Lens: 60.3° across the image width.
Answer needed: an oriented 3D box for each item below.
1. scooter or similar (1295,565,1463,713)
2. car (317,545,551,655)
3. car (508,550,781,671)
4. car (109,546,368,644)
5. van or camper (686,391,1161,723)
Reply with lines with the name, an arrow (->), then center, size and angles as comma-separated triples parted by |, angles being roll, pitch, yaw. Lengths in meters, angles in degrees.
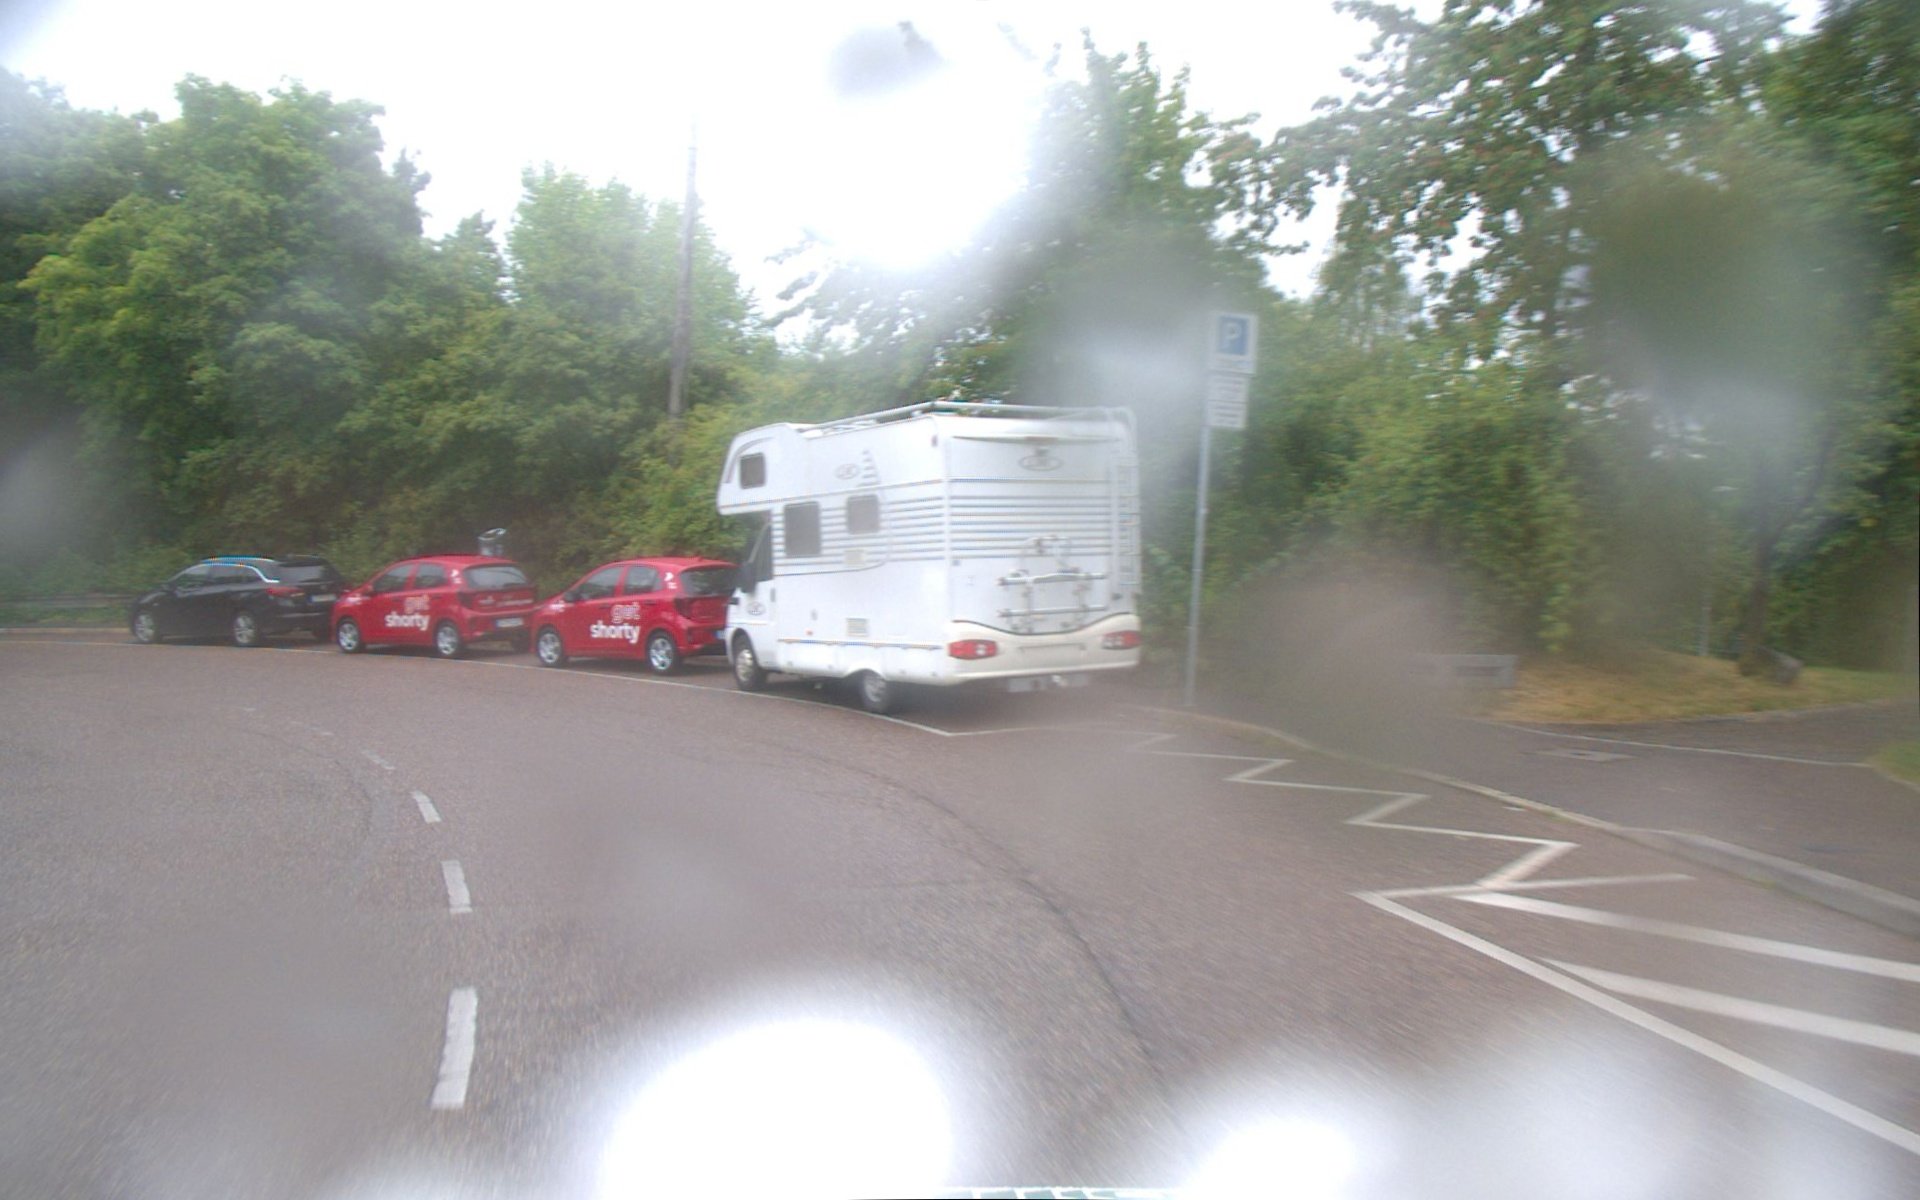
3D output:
scooter or similar -> 3.885, 0.333, 15.451 | 0.446, 1.305, 1.691 | 0, 0, -31
car -> -8.258, -0.051, 25.886 | 3.599, 1.539, 1.559 | 2, 4, 33
car -> -4.389, 0.082, 22.783 | 3.733, 1.486, 1.639 | 1, 4, 38
car -> -12.492, -0.139, 28.566 | 4.494, 1.539, 1.721 | 1, 4, 30
van or camper -> -0.678, -0.525, 18.209 | 2.367, 2.995, 6.213 | -3, 3, -32
